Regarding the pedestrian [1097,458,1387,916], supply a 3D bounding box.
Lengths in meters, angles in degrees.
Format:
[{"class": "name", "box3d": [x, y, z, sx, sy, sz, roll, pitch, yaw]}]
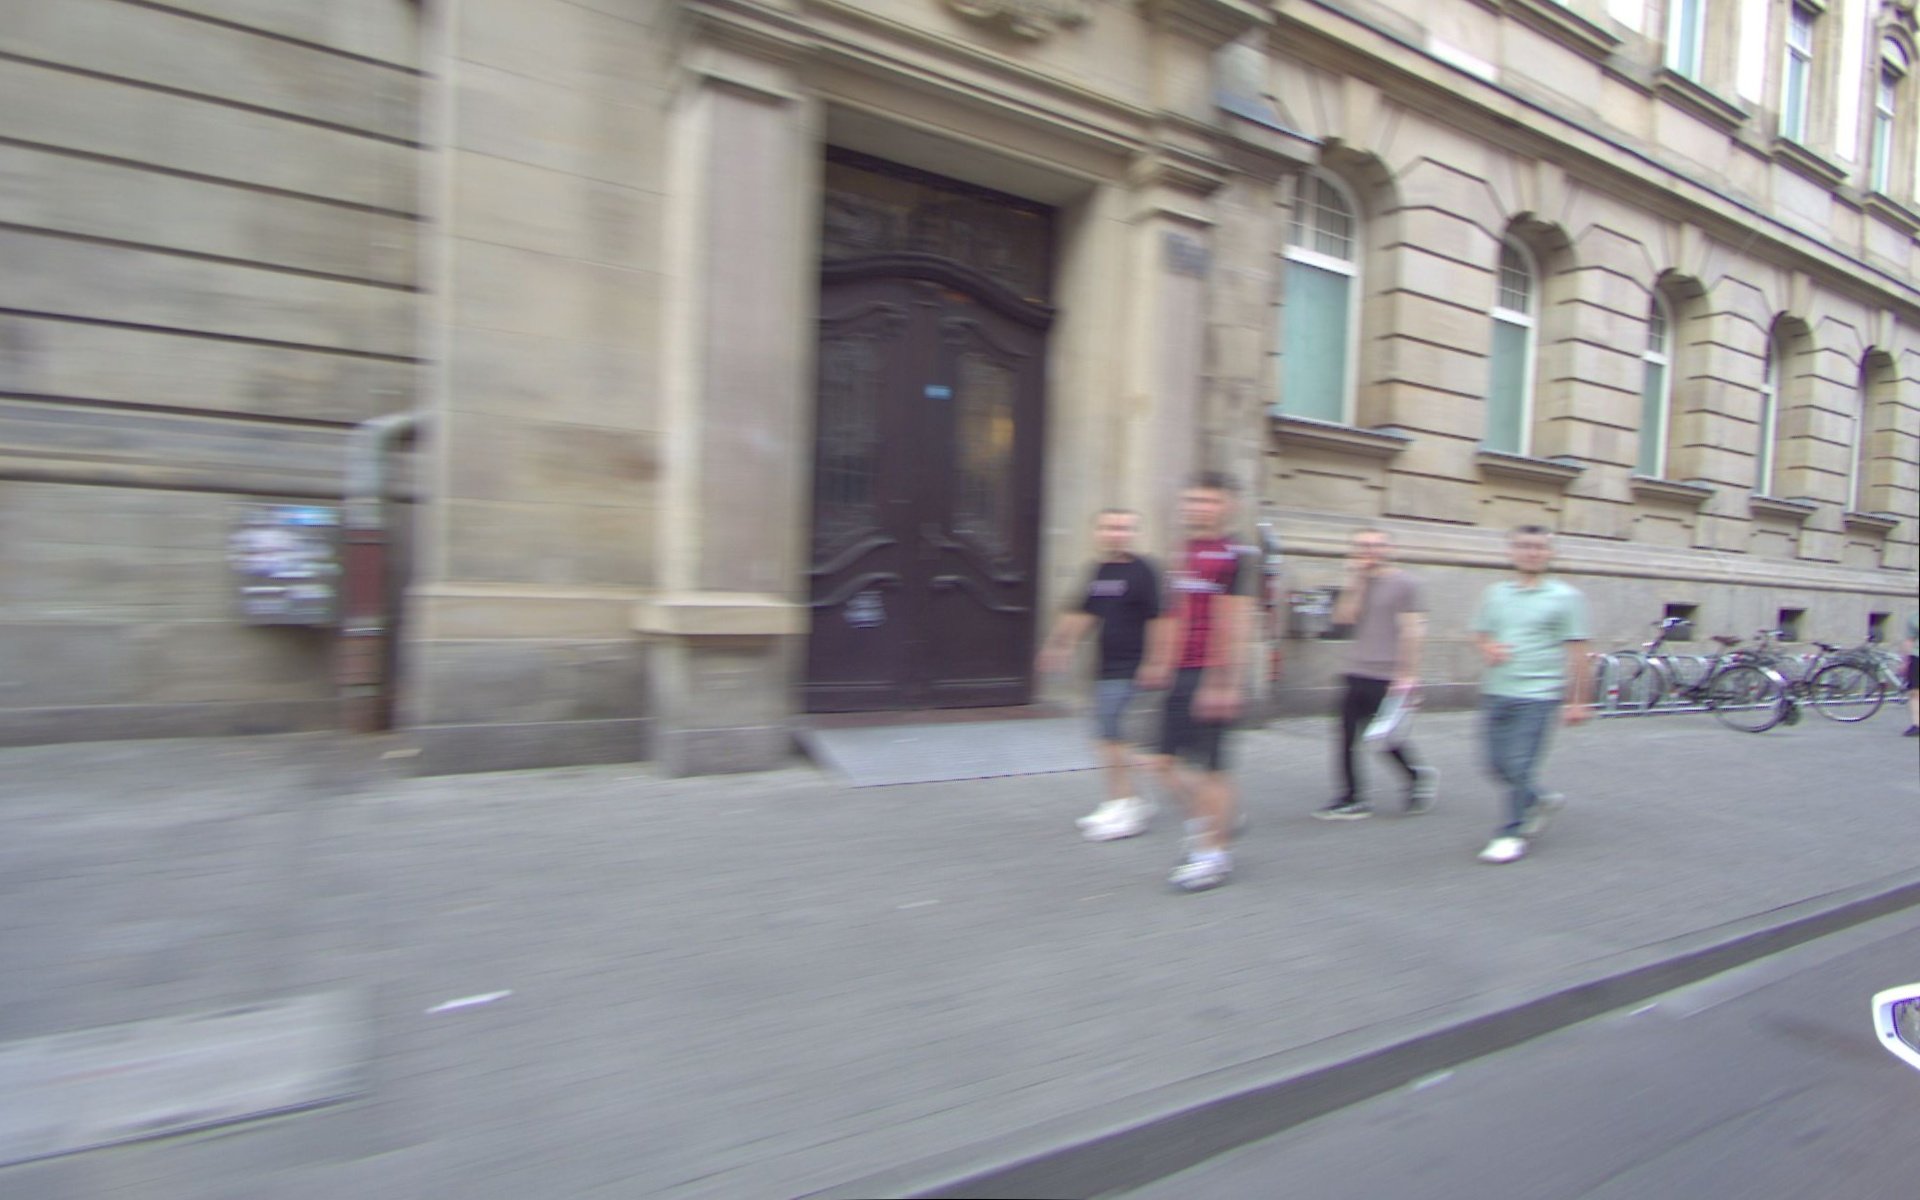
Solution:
[{"class": "pedestrian", "box3d": [1.236, 0.346, 4.523, 0.857, 1.855, 0.714, 2, 5, -23]}]

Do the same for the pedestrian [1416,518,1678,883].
[{"class": "pedestrian", "box3d": [3.102, 0.481, 5.354, 0.829, 1.766, 0.723, 1, 5, -27]}]

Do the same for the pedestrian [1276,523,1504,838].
[{"class": "pedestrian", "box3d": [2.509, 0.429, 5.913, 0.847, 1.690, 0.726, 1, 5, -27]}]

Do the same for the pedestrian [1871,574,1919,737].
[{"class": "pedestrian", "box3d": [11.093, 0.638, 11.450, 0.791, 1.804, 0.714, 1, 3, -30]}]

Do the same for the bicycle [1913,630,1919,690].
[{"class": "bicycle", "box3d": [17.465, 1.088, 16.882, 0.723, 1.093, 1.923, 2, 3, -36]}]

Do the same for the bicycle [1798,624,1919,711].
[{"class": "bicycle", "box3d": [13.492, 0.983, 14.520, 0.722, 1.093, 1.925, 2, 3, -33]}]

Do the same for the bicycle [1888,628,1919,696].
[{"class": "bicycle", "box3d": [16.460, 1.091, 16.269, 0.723, 1.093, 1.923, 2, 3, -36]}]

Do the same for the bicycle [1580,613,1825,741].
[{"class": "bicycle", "box3d": [8.193, 0.804, 11.189, 0.723, 1.124, 2.004, 2, 3, -36]}]

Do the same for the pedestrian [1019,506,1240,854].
[{"class": "pedestrian", "box3d": [0.857, 0.370, 5.258, 0.738, 1.664, 0.754, 2, 5, -23]}]

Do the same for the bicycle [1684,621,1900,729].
[{"class": "bicycle", "box3d": [10.539, 0.909, 12.807, 1.995, 1.093, 0.726, 6, 4, 41]}]
